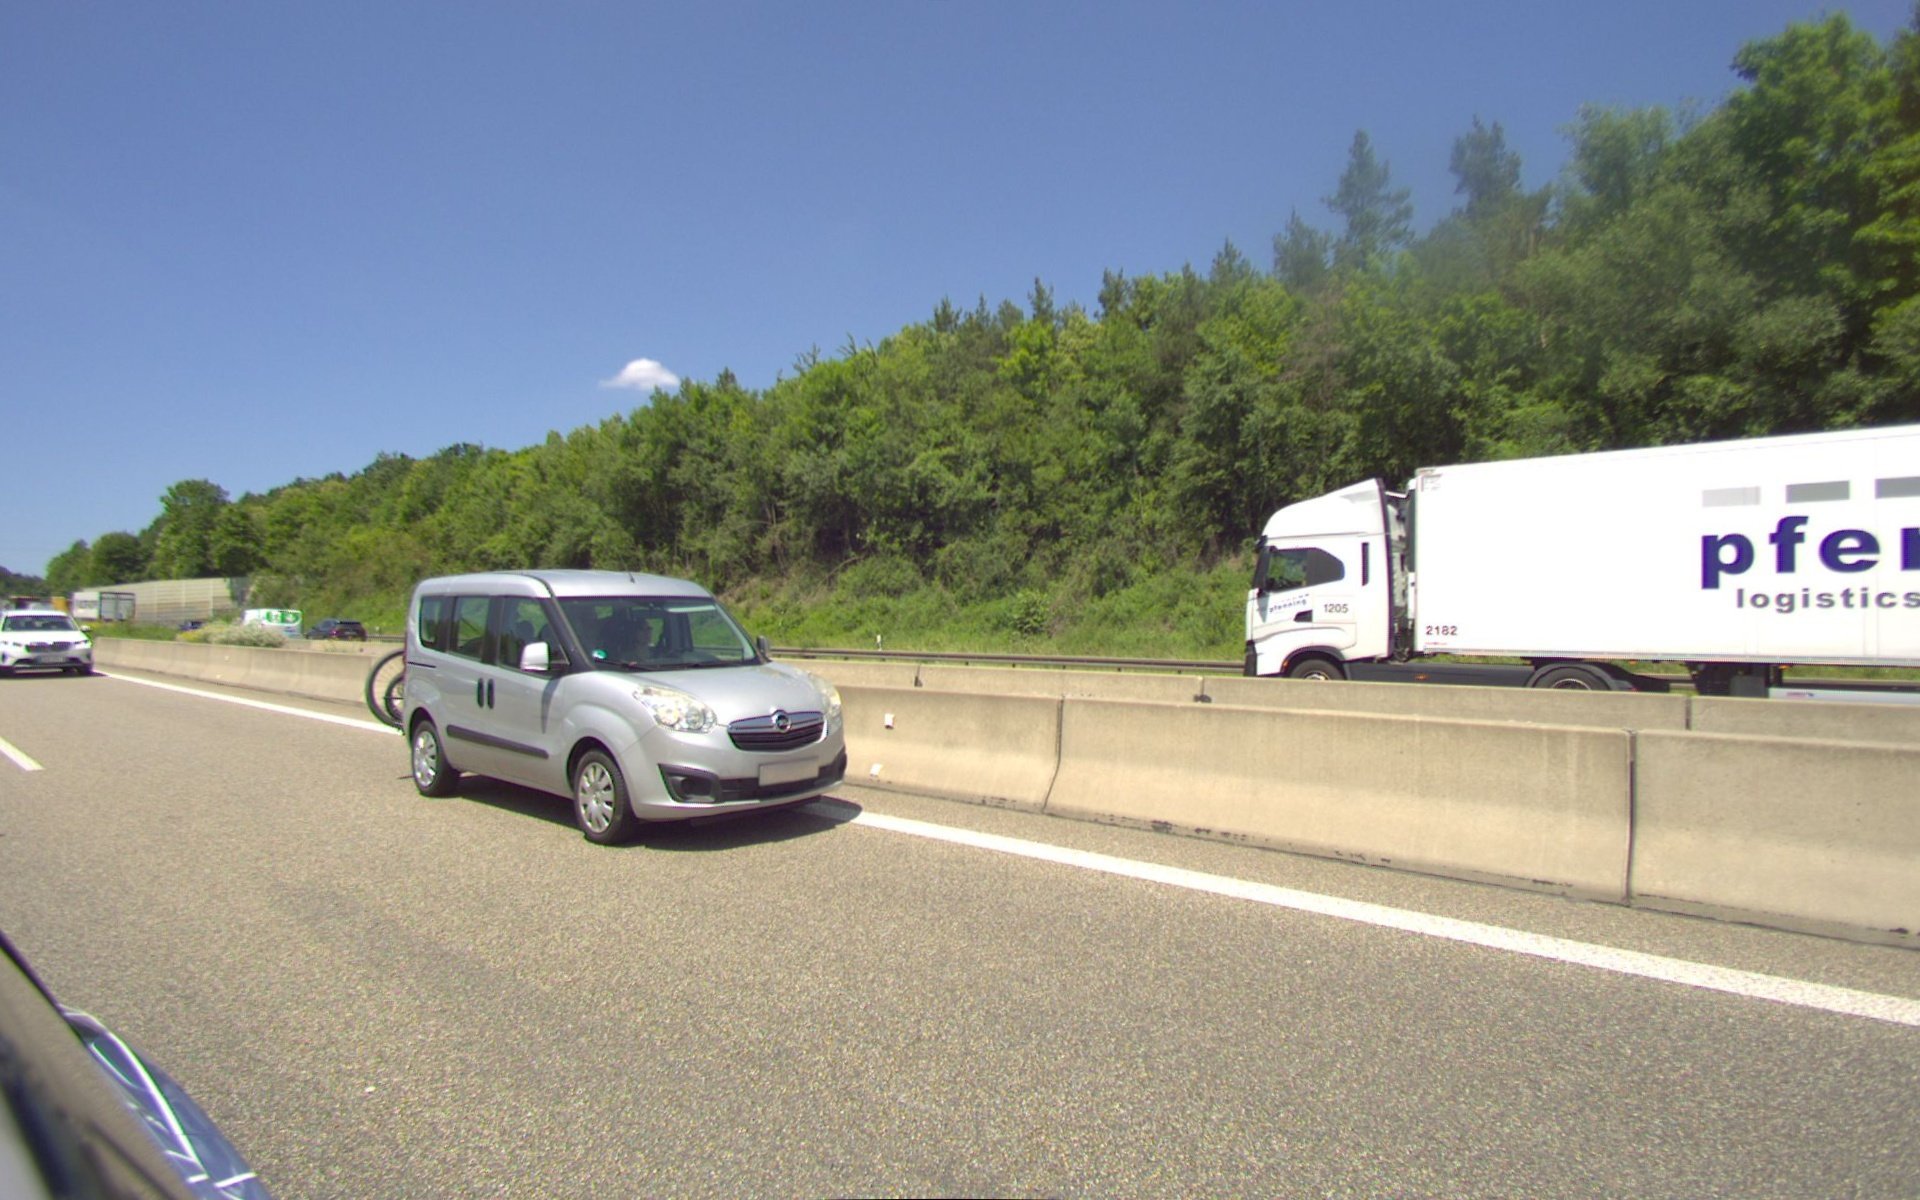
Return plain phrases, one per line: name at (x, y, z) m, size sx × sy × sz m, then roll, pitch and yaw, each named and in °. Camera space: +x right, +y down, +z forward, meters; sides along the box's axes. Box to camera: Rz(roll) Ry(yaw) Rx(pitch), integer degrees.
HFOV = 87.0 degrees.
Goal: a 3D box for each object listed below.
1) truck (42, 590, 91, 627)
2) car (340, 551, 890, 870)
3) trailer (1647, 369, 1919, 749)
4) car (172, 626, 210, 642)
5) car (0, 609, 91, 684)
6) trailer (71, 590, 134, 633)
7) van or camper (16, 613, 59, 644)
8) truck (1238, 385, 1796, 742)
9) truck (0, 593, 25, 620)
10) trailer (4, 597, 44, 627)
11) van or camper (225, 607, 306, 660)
truck at (-117.029, 1.035, 132.473) m, size 14.094 × 4.579 × 3.059 m, roll 0°, pitch 0°, yaw 42°
car at (-2.954, 0.618, 7.970) m, size 4.914 × 1.786 × 1.834 m, roll 0°, pitch 0°, yaw 40°
trailer at (14.402, -0.498, 11.359) m, size 10.812 × 4.515 × 2.918 m, roll 0°, pitch 0°, yaw 41°
car at (-66.239, 2.920, 87.159) m, size 4.001 × 1.344 × 1.971 m, roll -1°, pitch -2°, yaw 44°
car at (-23.573, 1.105, 25.672) m, size 3.998 × 1.719 × 1.800 m, roll 0°, pitch 0°, yaw 41°
trailer at (-82.646, 1.077, 97.464) m, size 11.395 × 3.901 × 2.966 m, roll 0°, pitch 0°, yaw 41°
van or camper at (-92.797, 2.843, 101.744) m, size 6.707 × 2.898 × 2.370 m, roll 0°, pitch 0°, yaw 40°
truck at (8.656, -0.467, 16.400) m, size 7.514 × 4.515 × 2.919 m, roll 0°, pitch 0°, yaw 41°
truck at (-170.622, 1.185, 181.251) m, size 14.093 × 4.580 × 3.235 m, roll -2°, pitch -1°, yaw 42°
trailer at (-133.068, 1.665, 143.841) m, size 7.893 × 4.226 × 3.399 m, roll 0°, pitch 0°, yaw 41°
van or camper at (-34.123, 1.577, 49.673) m, size 4.804 × 2.403 × 1.974 m, roll 0°, pitch 2°, yaw 40°
